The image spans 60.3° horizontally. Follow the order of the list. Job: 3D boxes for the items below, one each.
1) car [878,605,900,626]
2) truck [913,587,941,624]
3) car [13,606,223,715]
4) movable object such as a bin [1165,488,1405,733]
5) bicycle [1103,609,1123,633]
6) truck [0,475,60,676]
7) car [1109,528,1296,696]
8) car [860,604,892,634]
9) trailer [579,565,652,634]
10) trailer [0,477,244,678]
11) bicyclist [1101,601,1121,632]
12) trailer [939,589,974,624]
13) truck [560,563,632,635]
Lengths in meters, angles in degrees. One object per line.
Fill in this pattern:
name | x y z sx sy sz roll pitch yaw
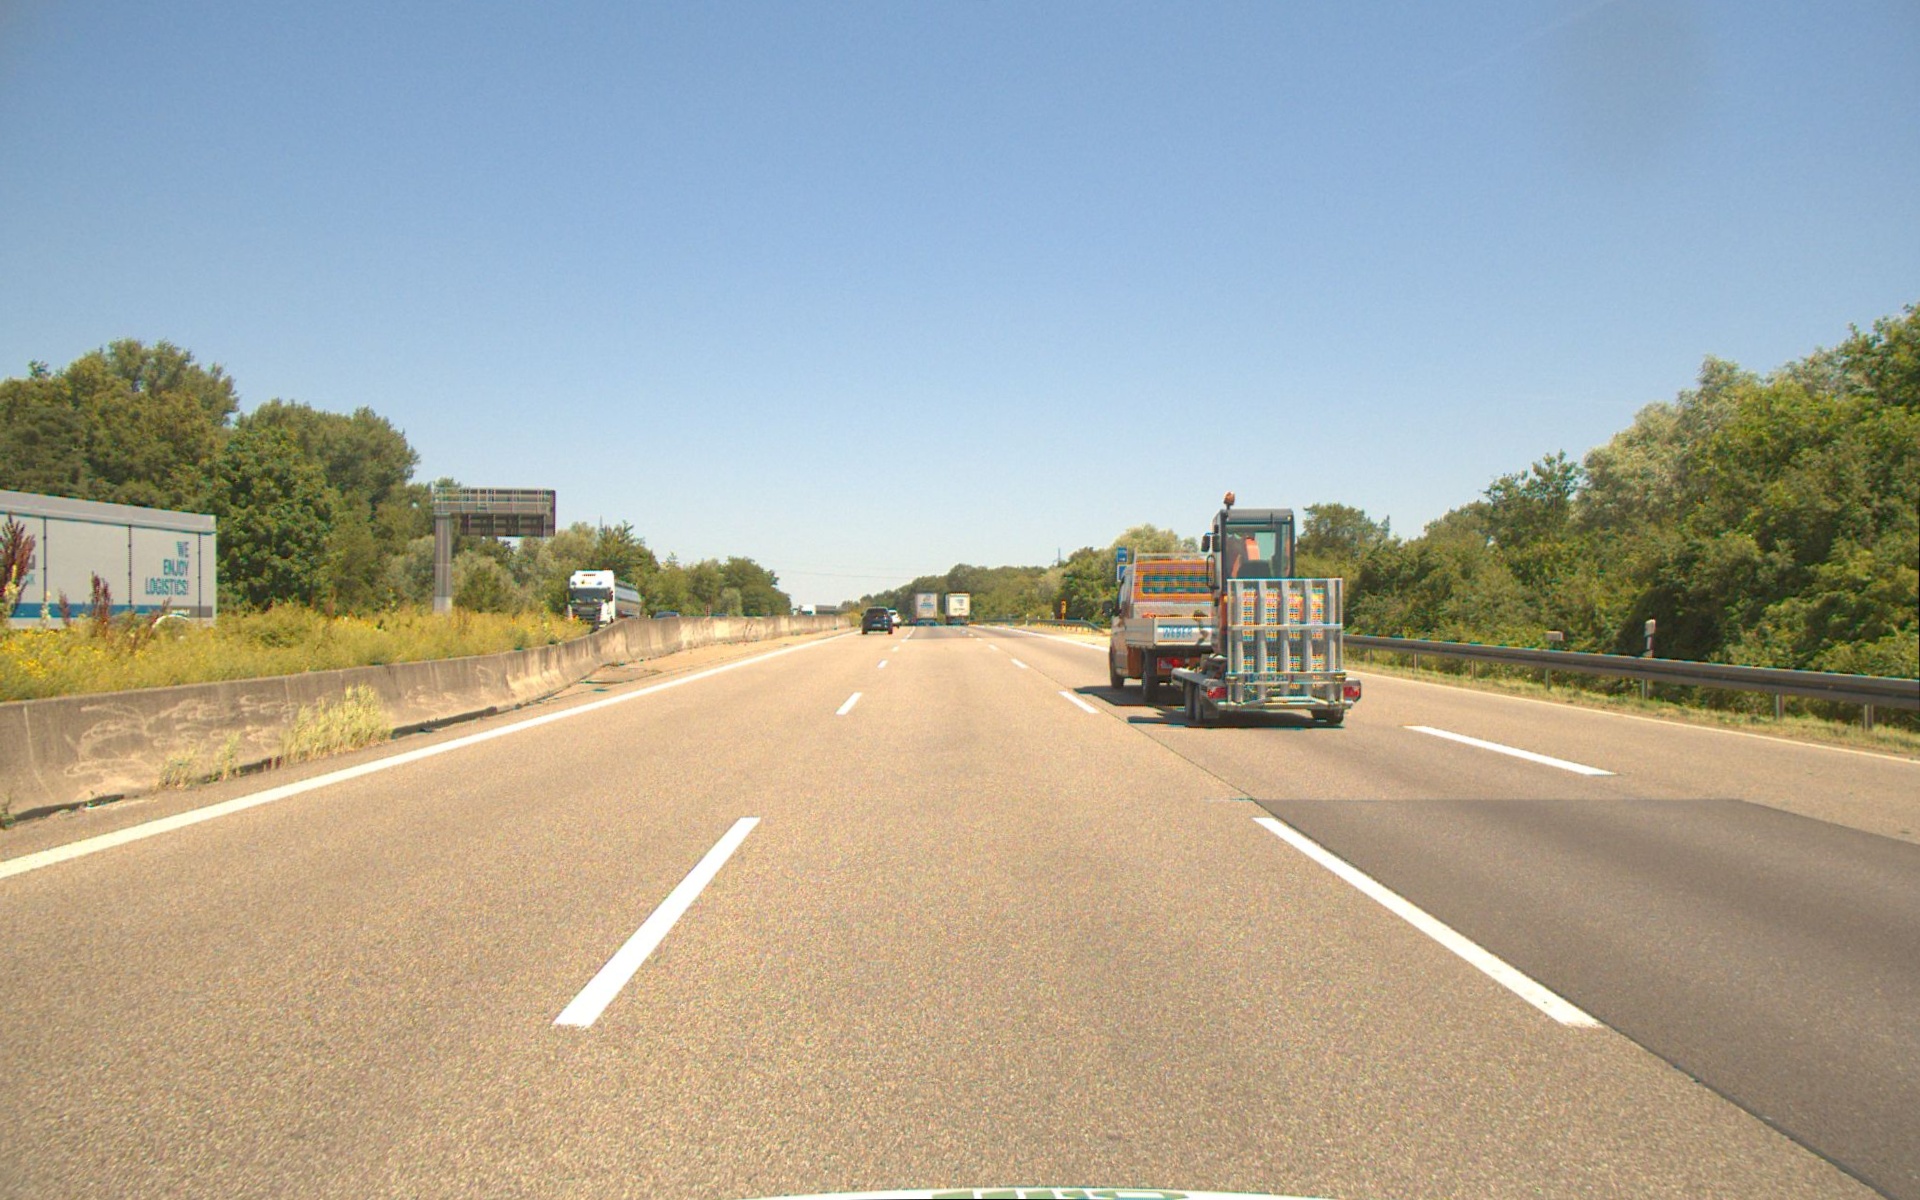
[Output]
car | -6.595 1.456 154.703 1.953 1.907 3.999 0 0 -1
truck | -4.020 0.672 199.251 3.164 4.275 8.462 2 0 -2
car | -16.929 1.143 33.551 1.953 2.049 4.586 0 0 -1
movable object such as a bin | 4.096 0.135 21.732 2.130 2.865 4.759 0 0 -1
bicycle | 8.120 1.118 87.839 0.940 1.177 2.609 3 -1 7
truck | -21.251 -0.505 32.362 2.924 4.148 8.191 0 0 -1
car | 3.862 0.200 27.770 1.953 2.447 7.224 0 0 -1
car | -5.391 1.223 106.808 1.953 1.907 3.999 0 0 -1
trailer | -22.474 0.002 108.439 2.751 4.118 10.426 3 0 -2
trailer | -21.309 -0.460 40.114 2.924 4.148 11.771 0 0 -1
bicyclist | 8.012 0.885 87.821 0.940 1.623 0.808 3 -1 7
trailer | -0.503 0.841 209.646 3.303 4.215 9.078 3 0 -6
truck | -22.241 -0.039 101.439 2.751 4.118 7.727 3 -1 -2
